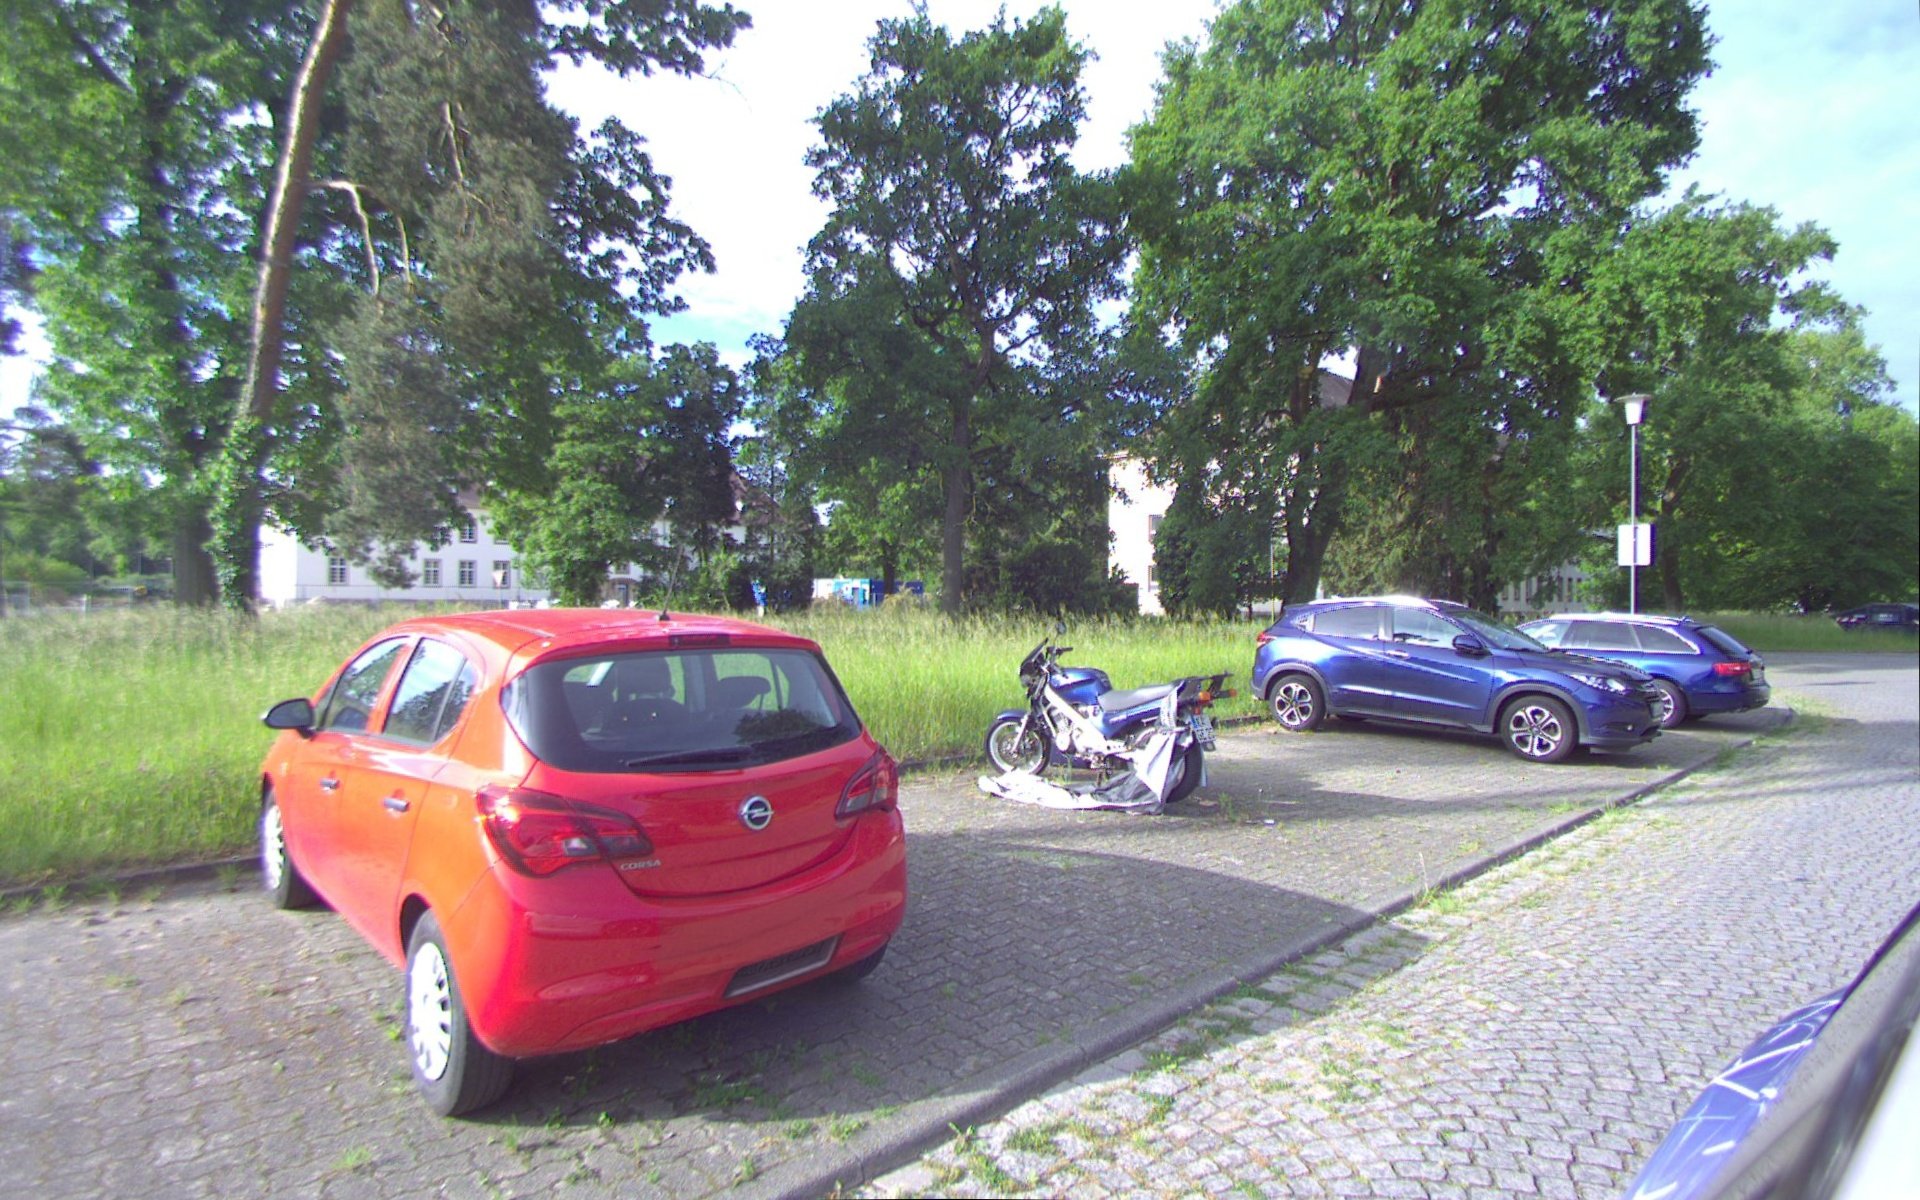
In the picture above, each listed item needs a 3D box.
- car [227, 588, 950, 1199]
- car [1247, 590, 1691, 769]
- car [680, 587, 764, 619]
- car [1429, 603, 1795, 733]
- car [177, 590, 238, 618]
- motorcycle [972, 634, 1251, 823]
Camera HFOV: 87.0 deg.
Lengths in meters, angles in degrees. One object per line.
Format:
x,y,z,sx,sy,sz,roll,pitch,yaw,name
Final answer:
-1.967,0.724,4.540,1.659,1.491,3.881,-1,2,-43,car
5.504,0.703,11.354,1.717,1.588,4.130,-1,1,-43,car
-17.974,0.195,76.518,5.857,2.328,2.166,0,0,-41,car
9.049,0.826,14.318,1.752,1.469,4.033,0,1,-40,car
-56.968,0.269,76.573,5.640,2.039,2.595,0,0,41,car
1.081,0.898,7.836,0.596,1.127,2.306,0,2,-41,motorcycle
